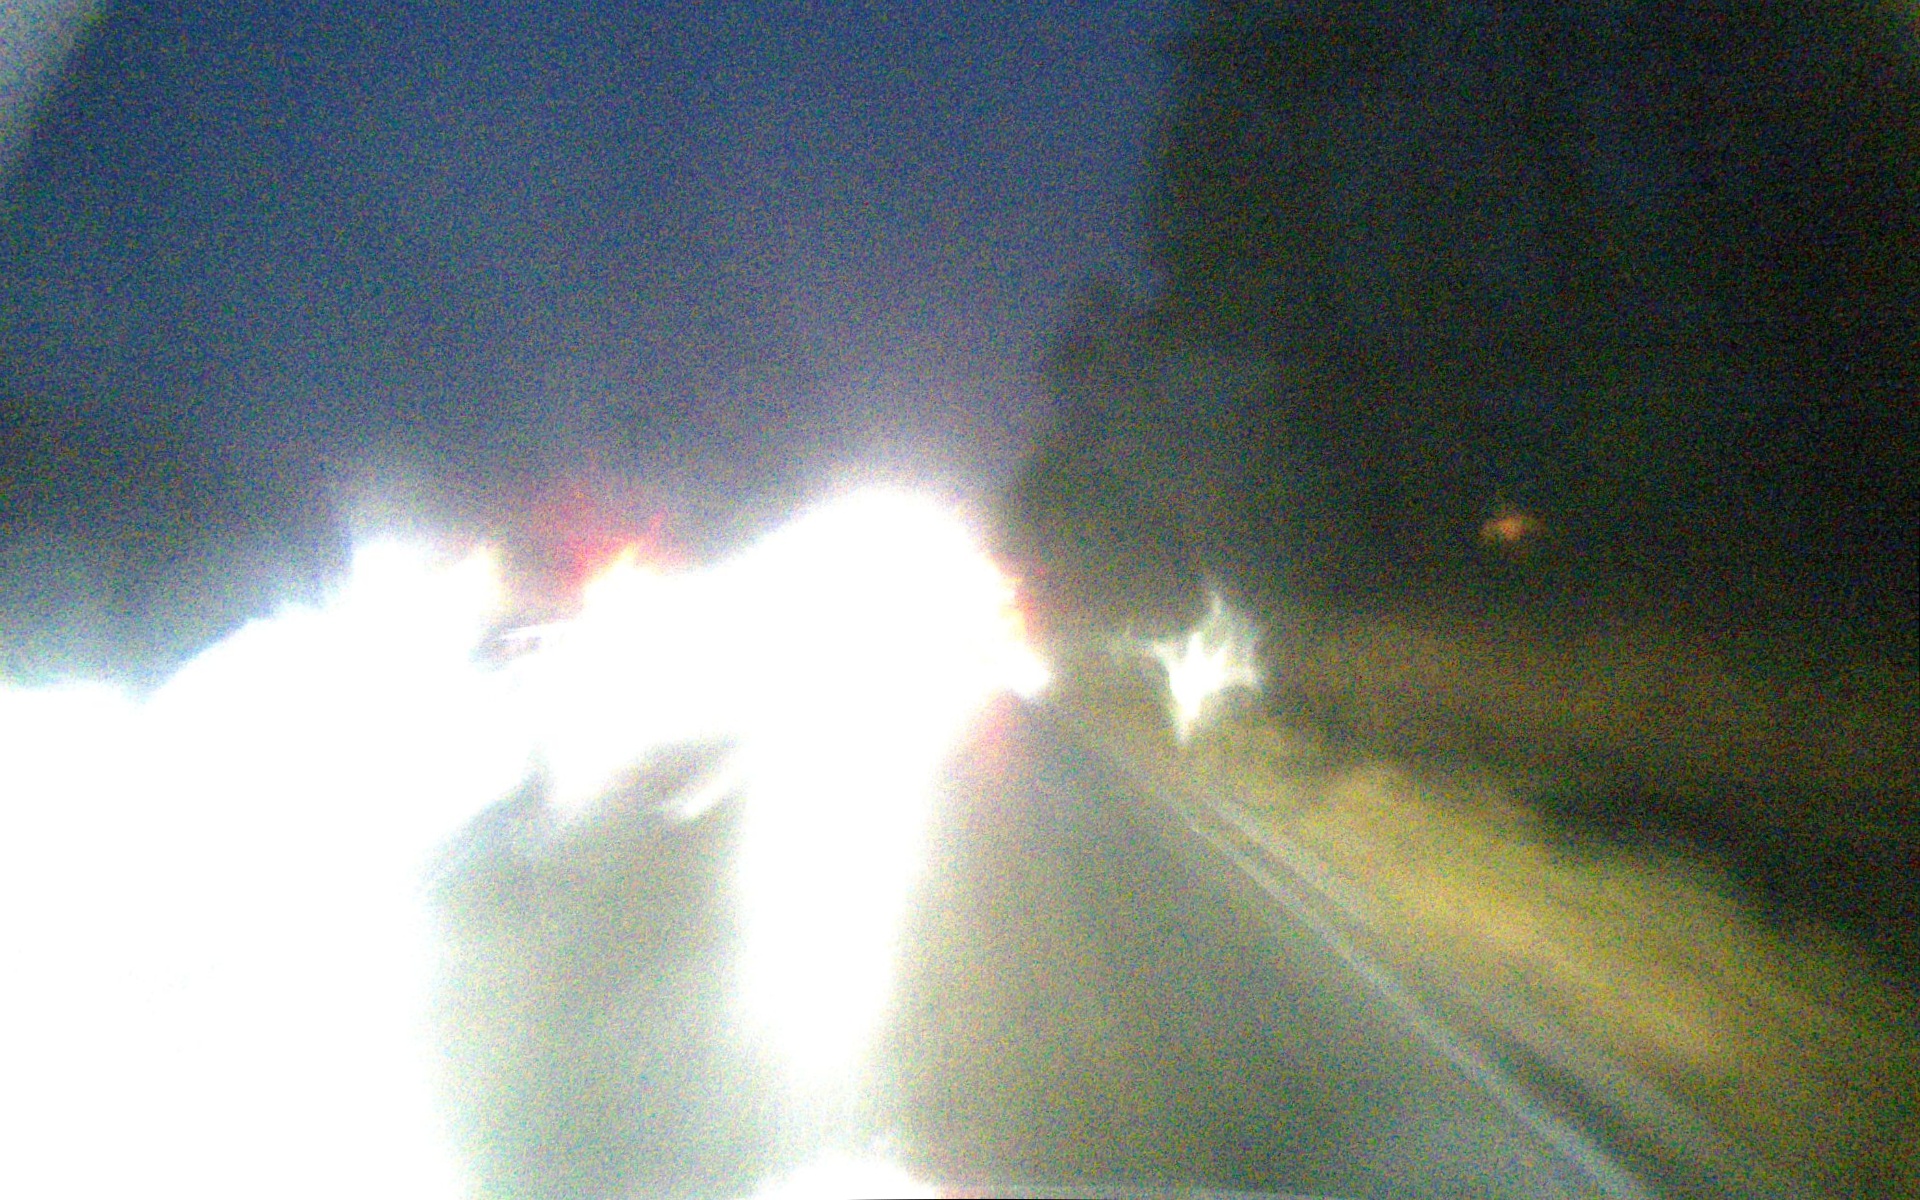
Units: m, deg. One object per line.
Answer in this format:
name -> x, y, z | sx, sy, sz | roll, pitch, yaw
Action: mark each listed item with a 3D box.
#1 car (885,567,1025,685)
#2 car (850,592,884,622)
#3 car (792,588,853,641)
car -> -0.083, 0.444, 31.280 | 2.407, 1.992, 4.911 | 1, 0, 0
car -> -5.276, 0.376, 93.882 | 1.729, 1.546, 4.489 | -2, 0, -1
car -> -4.561, 0.443, 55.460 | 1.768, 1.656, 4.405 | -2, 0, -2
